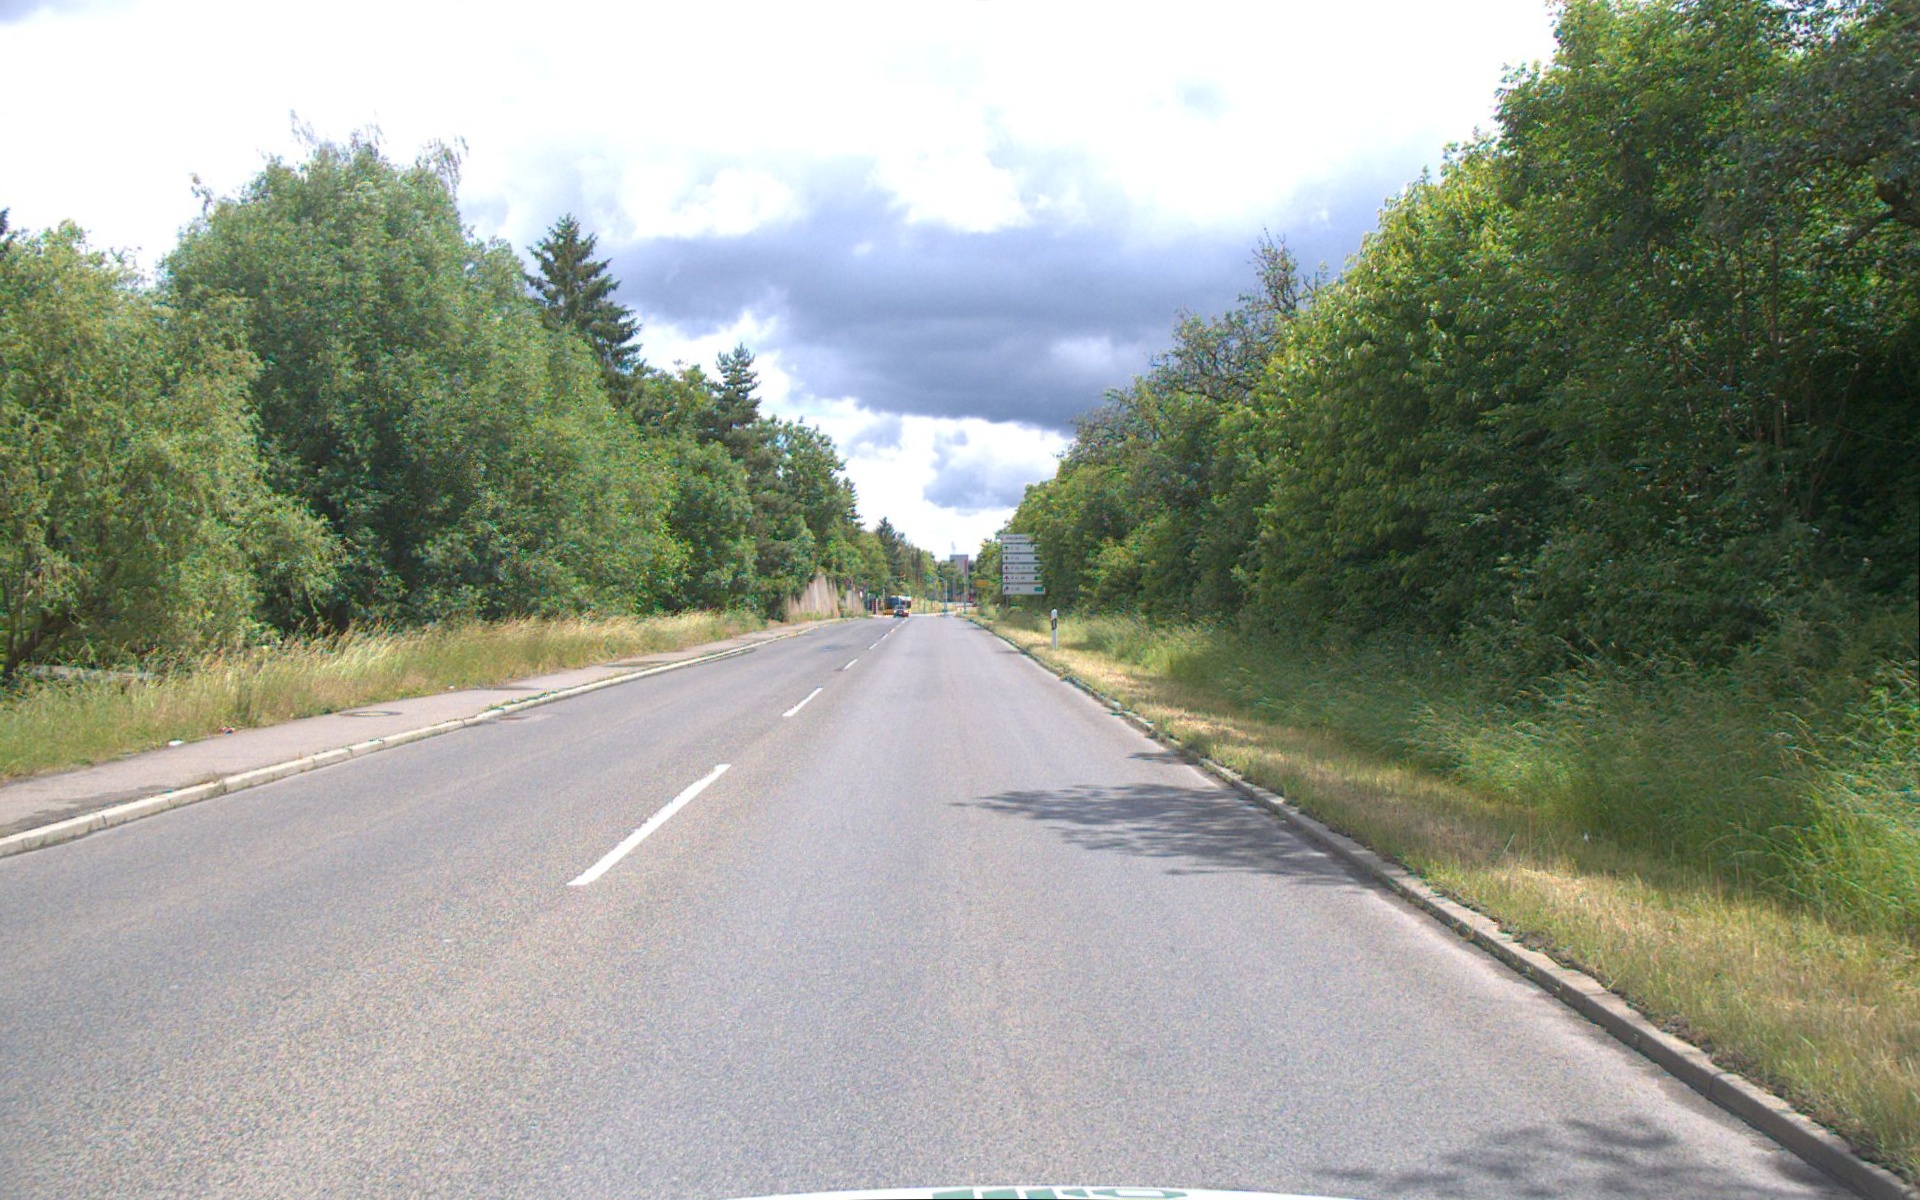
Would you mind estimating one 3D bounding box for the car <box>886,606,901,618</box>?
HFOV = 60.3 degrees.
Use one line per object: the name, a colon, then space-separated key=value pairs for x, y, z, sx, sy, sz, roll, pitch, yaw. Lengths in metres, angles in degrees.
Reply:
car: x=-8.225 y=1.491 z=205.379 sx=1.716 sy=1.489 sz=3.999 roll=-2 pitch=0 yaw=-1
